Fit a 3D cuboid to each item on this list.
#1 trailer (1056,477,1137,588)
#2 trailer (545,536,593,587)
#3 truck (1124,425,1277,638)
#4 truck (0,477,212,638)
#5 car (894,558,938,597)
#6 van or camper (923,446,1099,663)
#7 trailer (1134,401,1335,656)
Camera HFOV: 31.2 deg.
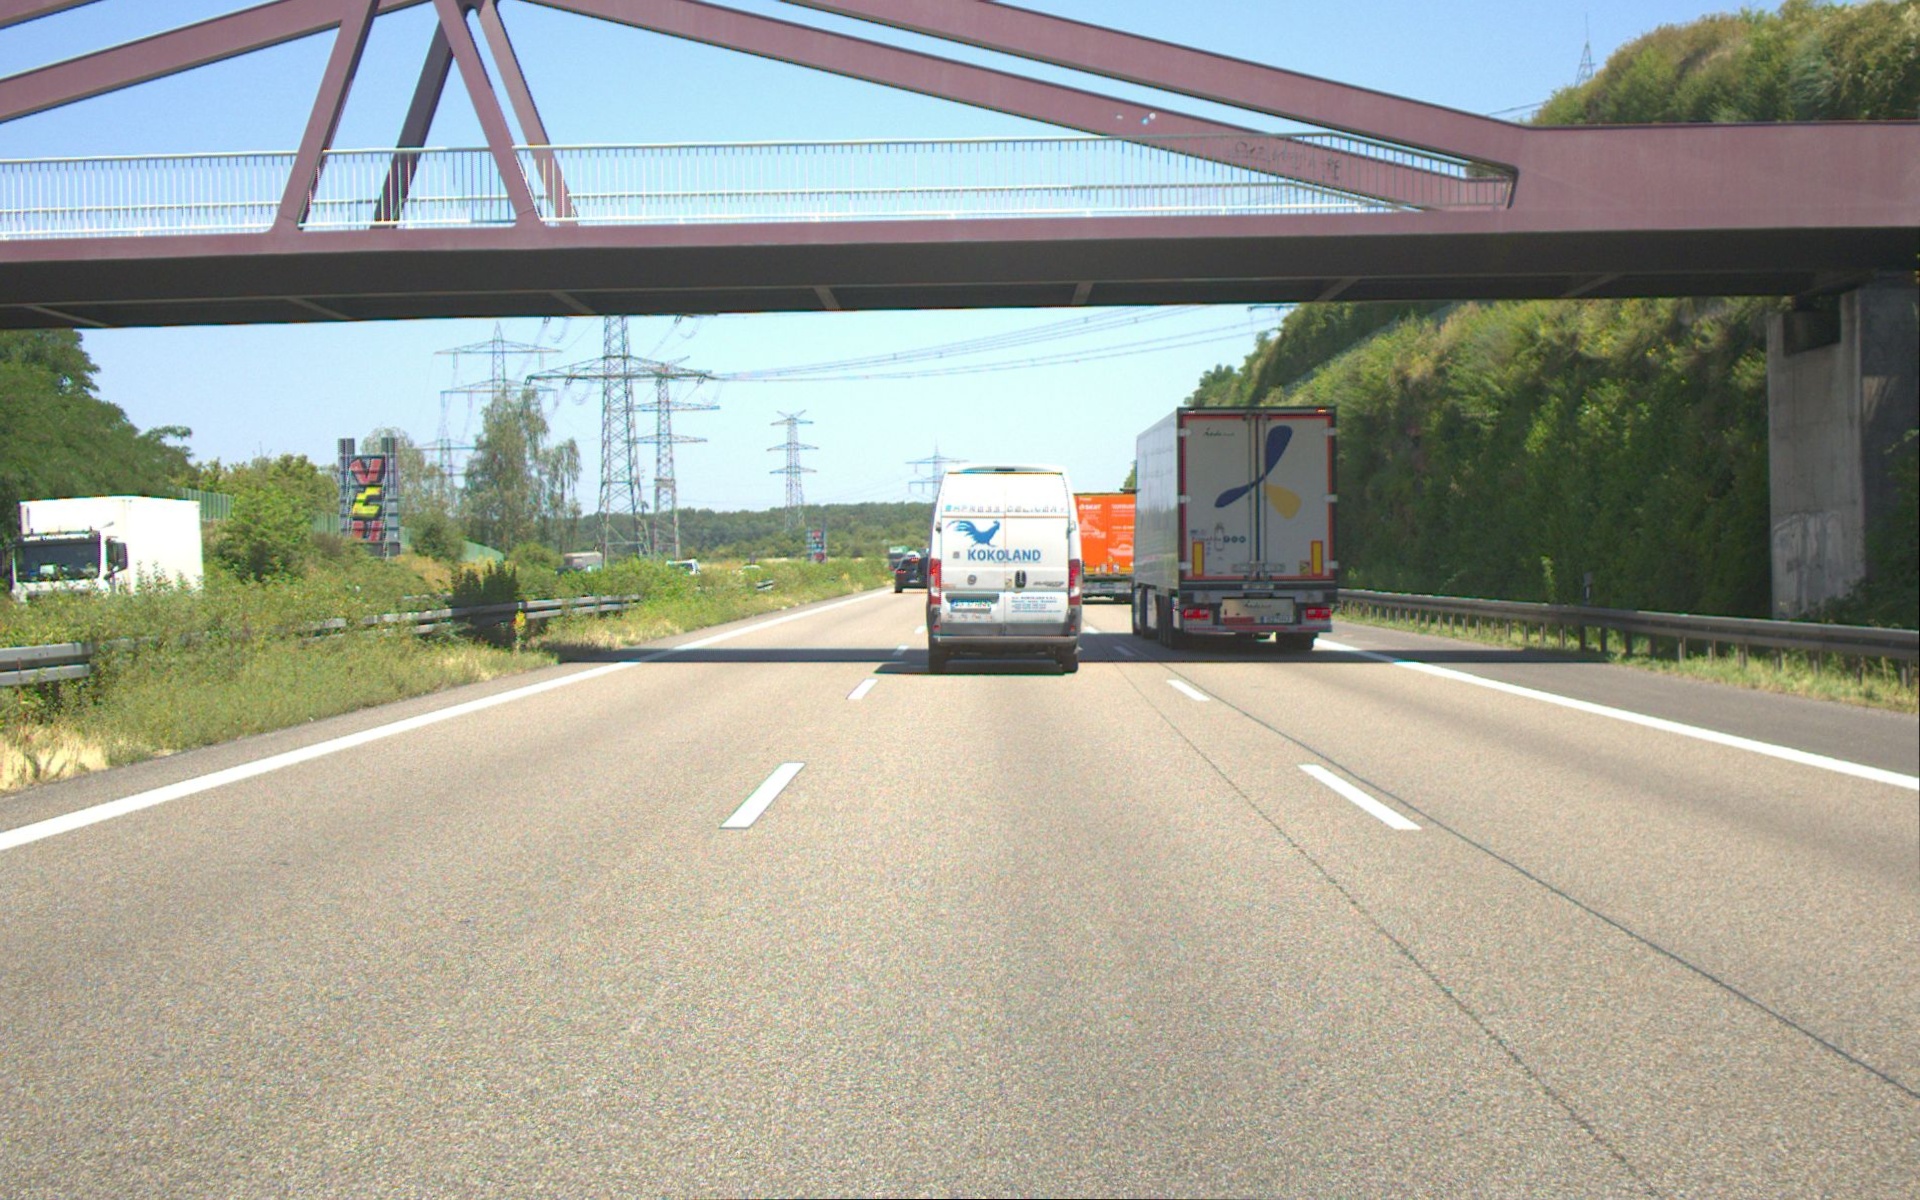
[{"bbox_3d":[4.930,-2.456,125.260,2.637,3.883,7.069,1,1,1],"label":"trailer"},{"bbox_3d":[-20.359,-2.009,179.151,1.800,2.609,4.407,1,1,2],"label":"trailer"},{"bbox_3d":[4.773,-1.361,69.062,2.637,4.046,5.800,1,1,1],"label":"truck"},{"bbox_3d":[-20.556,-1.040,82.727,2.808,3.525,10.189,-2,1,0],"label":"truck"},{"bbox_3d":[-2.124,-1.121,166.751,1.982,1.811,3.812,1,1,2],"label":"car"},{"bbox_3d":[0.646,-0.633,47.299,2.230,2.772,5.423,1,1,0],"label":"van or camper"},{"bbox_3d":[4.727,-1.252,61.487,2.637,4.046,12.366,1,1,1],"label":"trailer"}]
